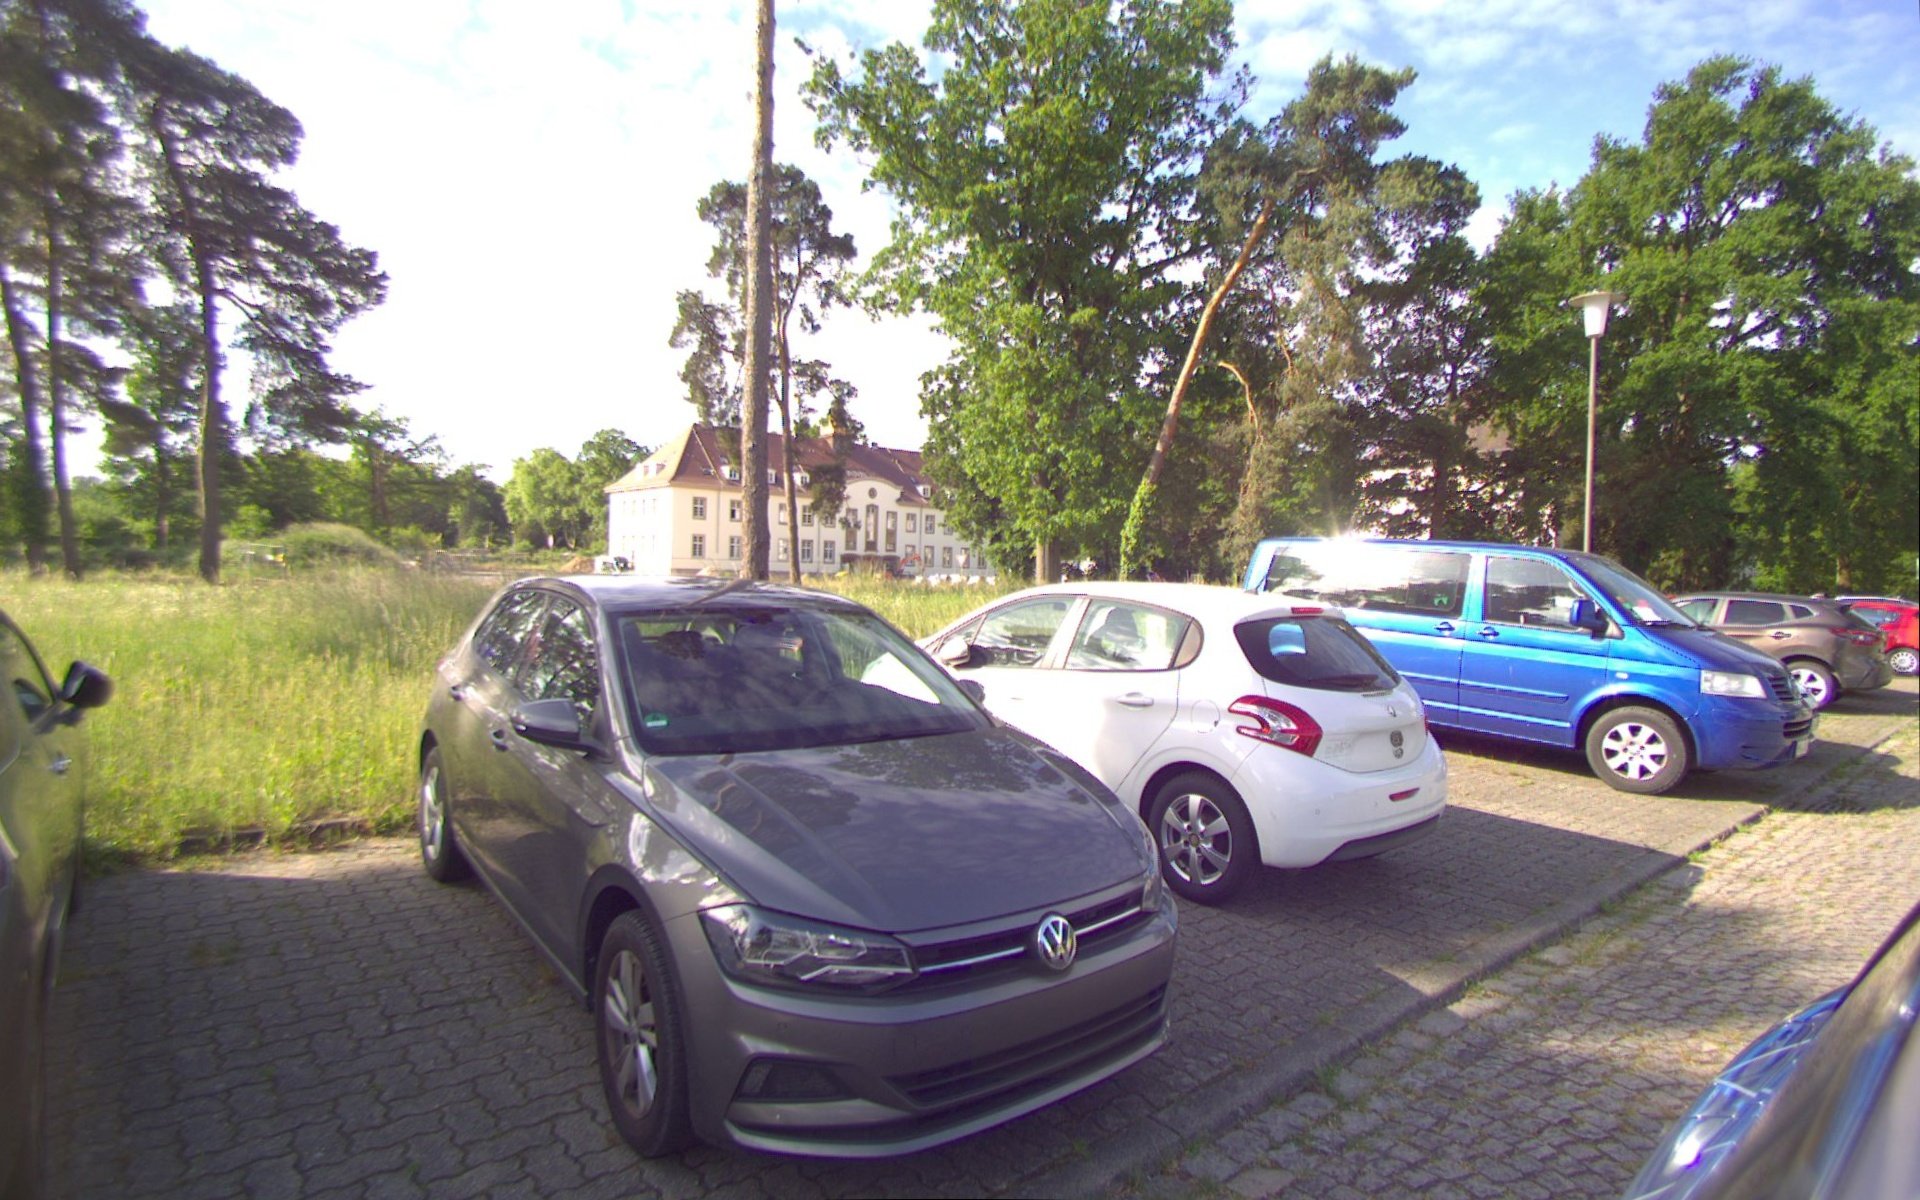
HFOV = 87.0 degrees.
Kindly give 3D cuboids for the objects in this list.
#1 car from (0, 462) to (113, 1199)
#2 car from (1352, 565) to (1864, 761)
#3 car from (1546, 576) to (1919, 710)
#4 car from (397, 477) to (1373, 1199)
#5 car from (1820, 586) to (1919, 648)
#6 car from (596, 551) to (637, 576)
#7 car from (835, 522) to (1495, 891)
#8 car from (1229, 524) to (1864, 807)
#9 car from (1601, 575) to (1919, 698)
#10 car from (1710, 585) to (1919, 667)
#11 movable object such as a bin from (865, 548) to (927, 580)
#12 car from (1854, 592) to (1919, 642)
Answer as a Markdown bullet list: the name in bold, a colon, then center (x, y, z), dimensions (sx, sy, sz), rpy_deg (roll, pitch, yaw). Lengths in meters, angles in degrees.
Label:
- **car**: center (-3.332, 0.389, 2.561), dimensions (1.784, 1.466, 3.716), rpy_deg (1, 3, -40)
- **car**: center (6.959, 0.505, 11.299), dimensions (1.905, 1.596, 4.408), rpy_deg (0, 3, -40)
- **car**: center (11.557, 0.514, 15.333), dimensions (1.902, 1.617, 4.232), rpy_deg (-1, 3, -42)
- **car**: center (-0.705, 0.410, 3.802), dimensions (1.823, 1.466, 3.717), rpy_deg (1, 3, -39)
- **car**: center (27.015, 0.523, 28.431), dimensions (1.821, 1.576, 4.096), rpy_deg (1, 3, -41)
- **car**: center (-32.514, -3.415, 95.718), dimensions (1.967, 2.240, 4.423), rpy_deg (-1, 0, -43)
- **car**: center (0.976, 0.351, 6.277), dimensions (1.729, 1.553, 3.717), rpy_deg (1, 3, -39)
- **car**: center (5.122, 0.321, 9.488), dimensions (1.965, 1.959, 4.710), rpy_deg (0, 3, -40)
- **car**: center (13.558, 0.493, 17.085), dimensions (1.902, 1.617, 4.233), rpy_deg (-1, 4, -42)
- **car**: center (19.172, 0.539, 22.150), dimensions (1.821, 1.477, 4.096), rpy_deg (1, 3, -41)
- **movable object such as a bin**: center (-6.961, -3.938, 110.896), dimensions (6.338, 3.342, 2.862), rpy_deg (-1, 0, 7)
- **car**: center (30.556, 0.618, 31.315), dimensions (1.754, 1.440, 4.096), rpy_deg (1, 3, -41)
